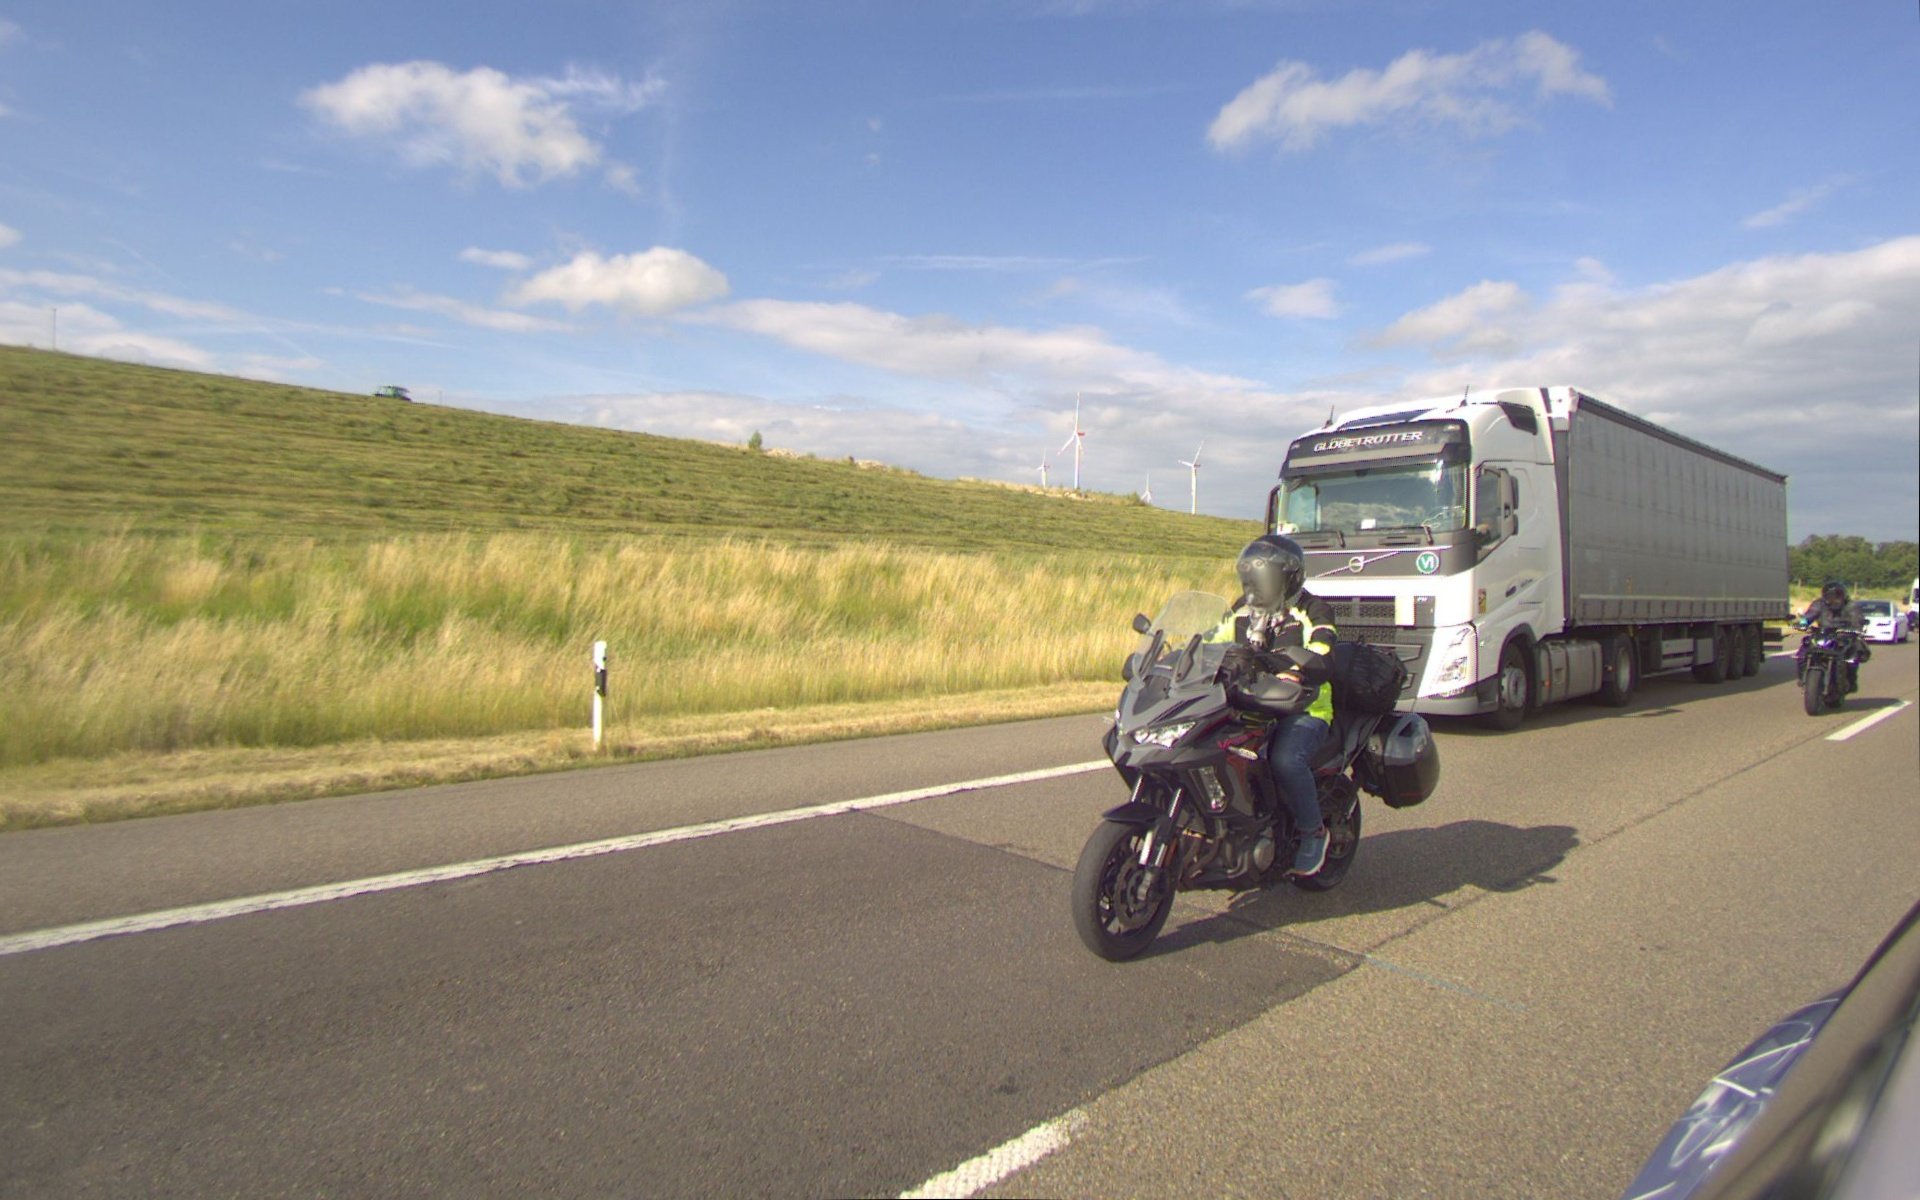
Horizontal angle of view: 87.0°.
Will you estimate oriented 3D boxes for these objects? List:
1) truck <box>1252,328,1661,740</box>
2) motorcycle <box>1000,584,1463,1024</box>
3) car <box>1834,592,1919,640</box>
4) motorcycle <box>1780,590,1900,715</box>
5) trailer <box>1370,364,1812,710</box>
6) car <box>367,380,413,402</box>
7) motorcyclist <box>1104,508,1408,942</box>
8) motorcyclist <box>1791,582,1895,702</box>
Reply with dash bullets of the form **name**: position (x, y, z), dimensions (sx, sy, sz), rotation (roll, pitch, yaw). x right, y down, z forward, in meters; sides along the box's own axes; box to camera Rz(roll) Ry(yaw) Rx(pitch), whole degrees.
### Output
- **truck**: position (6.607, -0.703, 13.053), dimensions (6.013, 4.091, 2.605), rotation (0, 1, -42)
- **motorcycle**: position (1.290, 0.669, 4.478), dimensions (2.230, 1.474, 0.897), rotation (-1, 1, -41)
- **car**: position (30.866, 0.483, 33.862), dimensions (4.384, 1.435, 1.870), rotation (-1, 1, -41)
- **motorcycle**: position (11.335, 0.616, 13.015), dimensions (1.948, 1.474, 0.897), rotation (-1, 1, -41)
- **trailer**: position (11.610, -0.810, 17.421), dimensions (13.460, 4.091, 2.621), rotation (0, 1, -41)
- **car**: position (-59.230, -21.676, 105.160), dimensions (3.929, 1.565, 1.707), rotation (-1, 1, -40)
- **motorcyclist**: position (1.309, 0.458, 4.485), dimensions (1.004, 1.637, 0.897), rotation (0, 1, -41)
- **motorcyclist**: position (11.365, 0.506, 13.029), dimensions (0.877, 1.474, 0.897), rotation (0, 1, -41)
